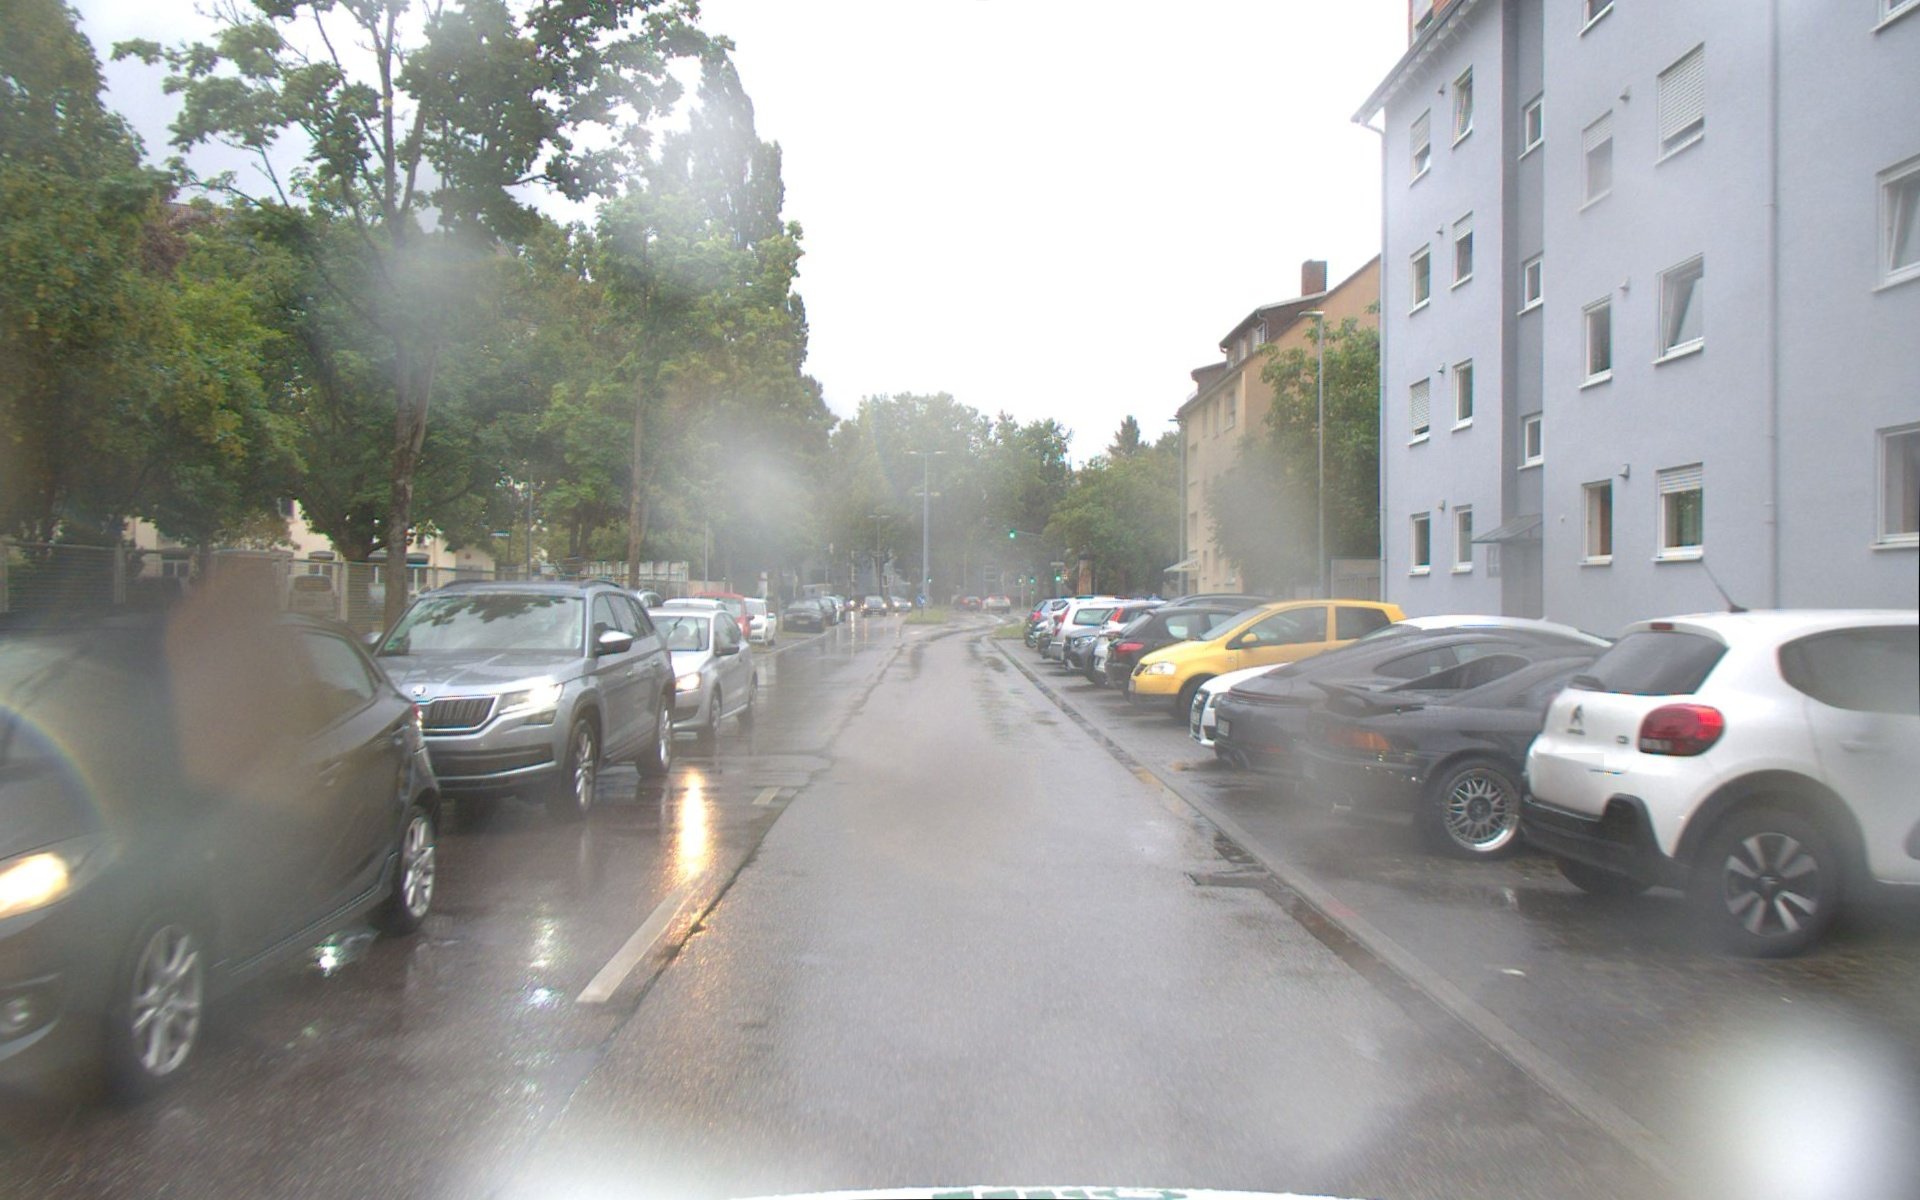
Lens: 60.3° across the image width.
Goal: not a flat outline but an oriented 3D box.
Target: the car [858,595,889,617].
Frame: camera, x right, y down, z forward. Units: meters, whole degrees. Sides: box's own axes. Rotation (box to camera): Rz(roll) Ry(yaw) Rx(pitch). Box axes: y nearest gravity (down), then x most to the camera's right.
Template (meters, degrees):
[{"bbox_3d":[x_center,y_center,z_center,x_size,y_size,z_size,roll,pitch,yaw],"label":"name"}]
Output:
[{"bbox_3d":[-6.180,0.451,117.588,1.955,1.512,3.995,1,0,-6],"label":"car"}]

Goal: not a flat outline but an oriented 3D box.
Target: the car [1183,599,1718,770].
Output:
[{"bbox_3d":[4.528,0.759,15.819,4.532,1.461,2.000,1,0,1],"label":"car"}]

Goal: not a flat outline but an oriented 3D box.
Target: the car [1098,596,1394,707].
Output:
[{"bbox_3d":[4.024,0.715,23.690,3.906,1.467,1.781,1,0,-2],"label":"car"}]

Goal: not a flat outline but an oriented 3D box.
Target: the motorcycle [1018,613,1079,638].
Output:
[{"bbox_3d":[3.016,0.850,56.219,2.029,0.806,0.711,1,0,5],"label":"motorcycle"}]

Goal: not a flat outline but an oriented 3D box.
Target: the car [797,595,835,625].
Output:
[{"bbox_3d":[-7.380,0.488,85.161,1.891,1.510,3.997,0,0,-4],"label":"car"}]

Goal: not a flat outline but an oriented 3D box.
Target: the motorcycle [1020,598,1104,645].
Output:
[{"bbox_3d":[2.994,0.633,48.719,2.352,1.347,0.918,1,0,-6],"label":"motorcycle"}]

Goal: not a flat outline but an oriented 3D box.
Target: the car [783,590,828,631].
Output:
[{"bbox_3d":[-6.590,0.417,70.375,1.742,1.556,3.994,1,2,-8],"label":"car"}]

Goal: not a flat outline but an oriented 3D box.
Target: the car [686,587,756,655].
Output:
[{"bbox_3d":[-6.024,0.515,42.042,1.594,1.626,4.195,1,0,-6],"label":"car"}]

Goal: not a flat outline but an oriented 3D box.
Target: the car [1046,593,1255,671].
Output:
[{"bbox_3d":[3.916,0.643,34.395,4.179,1.479,1.985,1,1,4],"label":"car"}]

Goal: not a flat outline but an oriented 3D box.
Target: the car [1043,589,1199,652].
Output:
[{"bbox_3d":[4.269,0.545,44.284,3.907,1.579,1.904,1,0,-3],"label":"car"}]

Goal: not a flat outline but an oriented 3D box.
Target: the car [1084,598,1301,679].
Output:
[{"bbox_3d":[4.444,0.721,31.987,3.906,1.436,1.845,1,1,-1],"label":"car"}]

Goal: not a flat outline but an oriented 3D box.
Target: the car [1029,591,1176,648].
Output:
[{"bbox_3d":[4.002,0.553,46.831,3.908,1.516,1.861,1,0,-4],"label":"car"}]

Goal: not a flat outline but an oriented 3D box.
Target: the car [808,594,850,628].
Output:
[{"bbox_3d":[-7.226,0.601,91.479,1.887,1.761,4.000,1,0,1],"label":"car"}]

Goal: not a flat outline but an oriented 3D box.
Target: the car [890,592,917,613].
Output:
[{"bbox_3d":[-4.858,0.212,141.688,1.709,1.718,3.989,1,0,-11],"label":"car"}]

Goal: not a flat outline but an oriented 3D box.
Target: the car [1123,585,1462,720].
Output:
[{"bbox_3d":[4.153,0.644,21.084,3.907,1.579,1.852,1,0,-3],"label":"car"}]

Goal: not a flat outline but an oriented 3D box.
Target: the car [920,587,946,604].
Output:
[{"bbox_3d":[-2.545,-0.442,155.119,1.816,1.551,3.991,0,0,-10],"label":"car"}]

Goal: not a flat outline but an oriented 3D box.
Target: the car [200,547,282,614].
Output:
[{"bbox_3d":[-24.595,-0.652,56.530,1.975,2.159,3.955,1,0,-33],"label":"car"}]

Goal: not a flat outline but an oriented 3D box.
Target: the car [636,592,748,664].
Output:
[{"bbox_3d":[-5.875,0.597,36.675,1.626,1.486,4.174,1,0,2],"label":"car"}]

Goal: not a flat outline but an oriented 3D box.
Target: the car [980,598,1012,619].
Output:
[{"bbox_3d":[2.705,0.608,125.150,1.815,1.551,3.992,0,0,-8],"label":"car"}]

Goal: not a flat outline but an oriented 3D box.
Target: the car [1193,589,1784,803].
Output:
[{"bbox_3d":[4.045,0.714,13.190,4.059,1.512,2.012,1,0,-1],"label":"car"}]

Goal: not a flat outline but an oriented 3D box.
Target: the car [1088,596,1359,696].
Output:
[{"bbox_3d":[4.106,0.705,26.299,4.013,1.483,2.000,1,0,0],"label":"car"}]

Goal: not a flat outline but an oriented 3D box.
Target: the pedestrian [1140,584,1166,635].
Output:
[{"bbox_3d":[7.837,0.398,67.104,0.989,2.049,0.953,1,0,8],"label":"pedestrian"}]

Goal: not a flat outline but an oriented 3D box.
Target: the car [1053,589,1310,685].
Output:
[{"bbox_3d":[3.867,0.635,29.432,4.253,1.579,2.039,1,0,-2],"label":"car"}]

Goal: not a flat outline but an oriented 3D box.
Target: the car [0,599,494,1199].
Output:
[{"bbox_3d":[-3.183,0.747,6.133,1.742,1.445,4.265,0,1,-1],"label":"car"}]

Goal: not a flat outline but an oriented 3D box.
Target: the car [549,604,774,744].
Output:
[{"bbox_3d":[-3.290,0.760,19.015,1.637,1.407,4.253,0,0,3],"label":"car"}]

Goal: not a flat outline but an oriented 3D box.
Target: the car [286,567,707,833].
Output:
[{"bbox_3d":[-3.330,0.646,12.974,1.875,1.668,4.822,1,0,1],"label":"car"}]

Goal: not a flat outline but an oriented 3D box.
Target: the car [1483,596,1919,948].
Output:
[{"bbox_3d":[4.717,0.735,8.001,3.777,1.480,1.835,0,0,-3],"label":"car"}]

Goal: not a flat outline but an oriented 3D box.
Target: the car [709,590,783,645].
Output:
[{"bbox_3d":[-6.458,0.518,50.351,1.733,1.555,4.596,1,0,-2],"label":"car"}]

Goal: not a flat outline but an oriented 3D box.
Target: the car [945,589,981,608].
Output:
[{"bbox_3d":[0.250,-0.127,139.372,1.821,1.551,4.132,0,0,-18],"label":"car"}]

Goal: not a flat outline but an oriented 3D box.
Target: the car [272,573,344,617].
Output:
[{"bbox_3d":[-22.763,-0.176,57.667,1.688,1.459,3.610,1,0,-32],"label":"car"}]

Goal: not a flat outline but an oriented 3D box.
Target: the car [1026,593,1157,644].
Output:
[{"bbox_3d":[4.064,0.565,51.616,3.905,1.487,1.934,1,0,-1],"label":"car"}]

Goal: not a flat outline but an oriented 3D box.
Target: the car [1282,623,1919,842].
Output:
[{"bbox_3d":[4.138,0.787,10.651,3.774,1.229,1.956,0,0,1],"label":"car"}]

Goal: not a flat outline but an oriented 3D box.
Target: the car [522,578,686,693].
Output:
[{"bbox_3d":[-5.863,0.523,27.762,1.740,1.709,4.600,2,1,-1],"label":"car"}]
